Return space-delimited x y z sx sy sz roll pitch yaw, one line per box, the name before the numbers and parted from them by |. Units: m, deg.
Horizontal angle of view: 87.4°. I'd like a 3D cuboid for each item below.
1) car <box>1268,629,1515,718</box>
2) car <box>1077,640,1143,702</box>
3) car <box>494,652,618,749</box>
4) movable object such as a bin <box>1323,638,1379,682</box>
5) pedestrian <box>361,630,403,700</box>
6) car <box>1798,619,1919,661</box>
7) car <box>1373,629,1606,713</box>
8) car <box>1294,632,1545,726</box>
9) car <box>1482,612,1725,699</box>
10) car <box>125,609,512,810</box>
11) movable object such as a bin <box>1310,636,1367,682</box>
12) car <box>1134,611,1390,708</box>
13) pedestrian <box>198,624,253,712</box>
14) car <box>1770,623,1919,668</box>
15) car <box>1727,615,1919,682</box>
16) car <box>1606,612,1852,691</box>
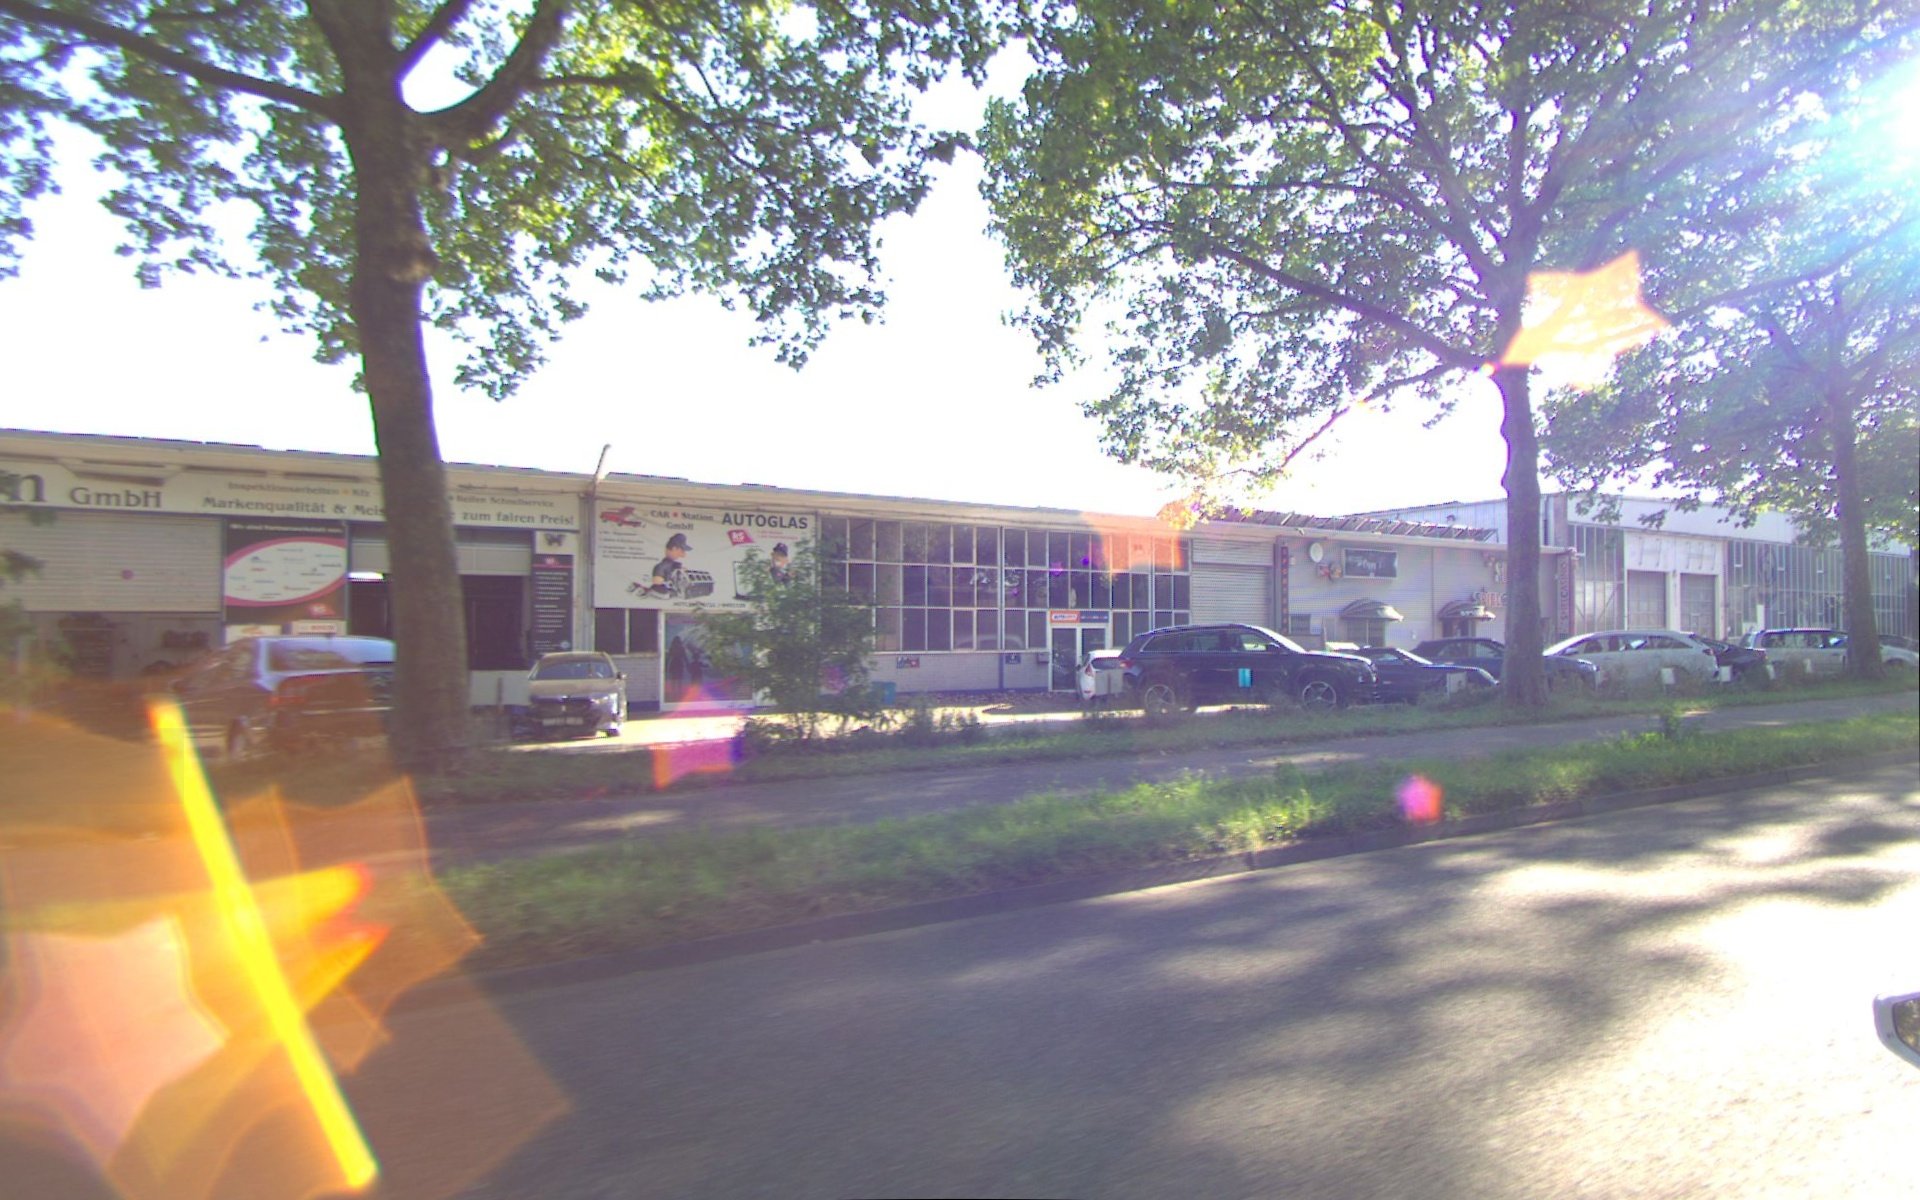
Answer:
car | 8.286 1.361 19.567 4.180 1.400 1.999 1 0 22
car | 3.974 1.868 27.052 1.522 1.403 3.299 1 0 5
car | -7.708 1.846 19.554 1.969 1.339 4.455 1 1 -19
movable object such as a bin | 13.603 2.062 34.919 1.610 1.451 1.050 1 0 -33
pedestrian | -12.717 1.416 22.104 0.675 1.492 0.691 1 0 -22
car | 30.345 1.285 32.586 4.396 1.323 2.000 0 -1 19
car | 11.075 1.448 21.392 4.180 1.471 1.999 1 0 22
car | 8.724 1.450 19.411 4.180 1.471 1.999 1 0 22
car | 14.414 1.194 22.776 4.176 1.722 2.001 1 0 14
car | -6.730 0.935 10.390 4.280 1.550 1.993 1 0 37
movable object such as a bin | 12.760 1.976 33.851 1.556 1.451 1.050 1 0 -33
car | 5.436 0.996 18.106 4.180 1.471 1.999 1 0 22
pedestrian | -14.750 1.356 20.191 0.761 1.698 0.789 1 0 -30
car | 27.886 1.369 30.747 4.396 1.323 2.000 0 -1 19
car | 25.518 1.384 29.469 4.398 1.754 1.999 1 0 23
car | 18.199 1.184 24.007 4.176 1.651 2.001 1 0 13
